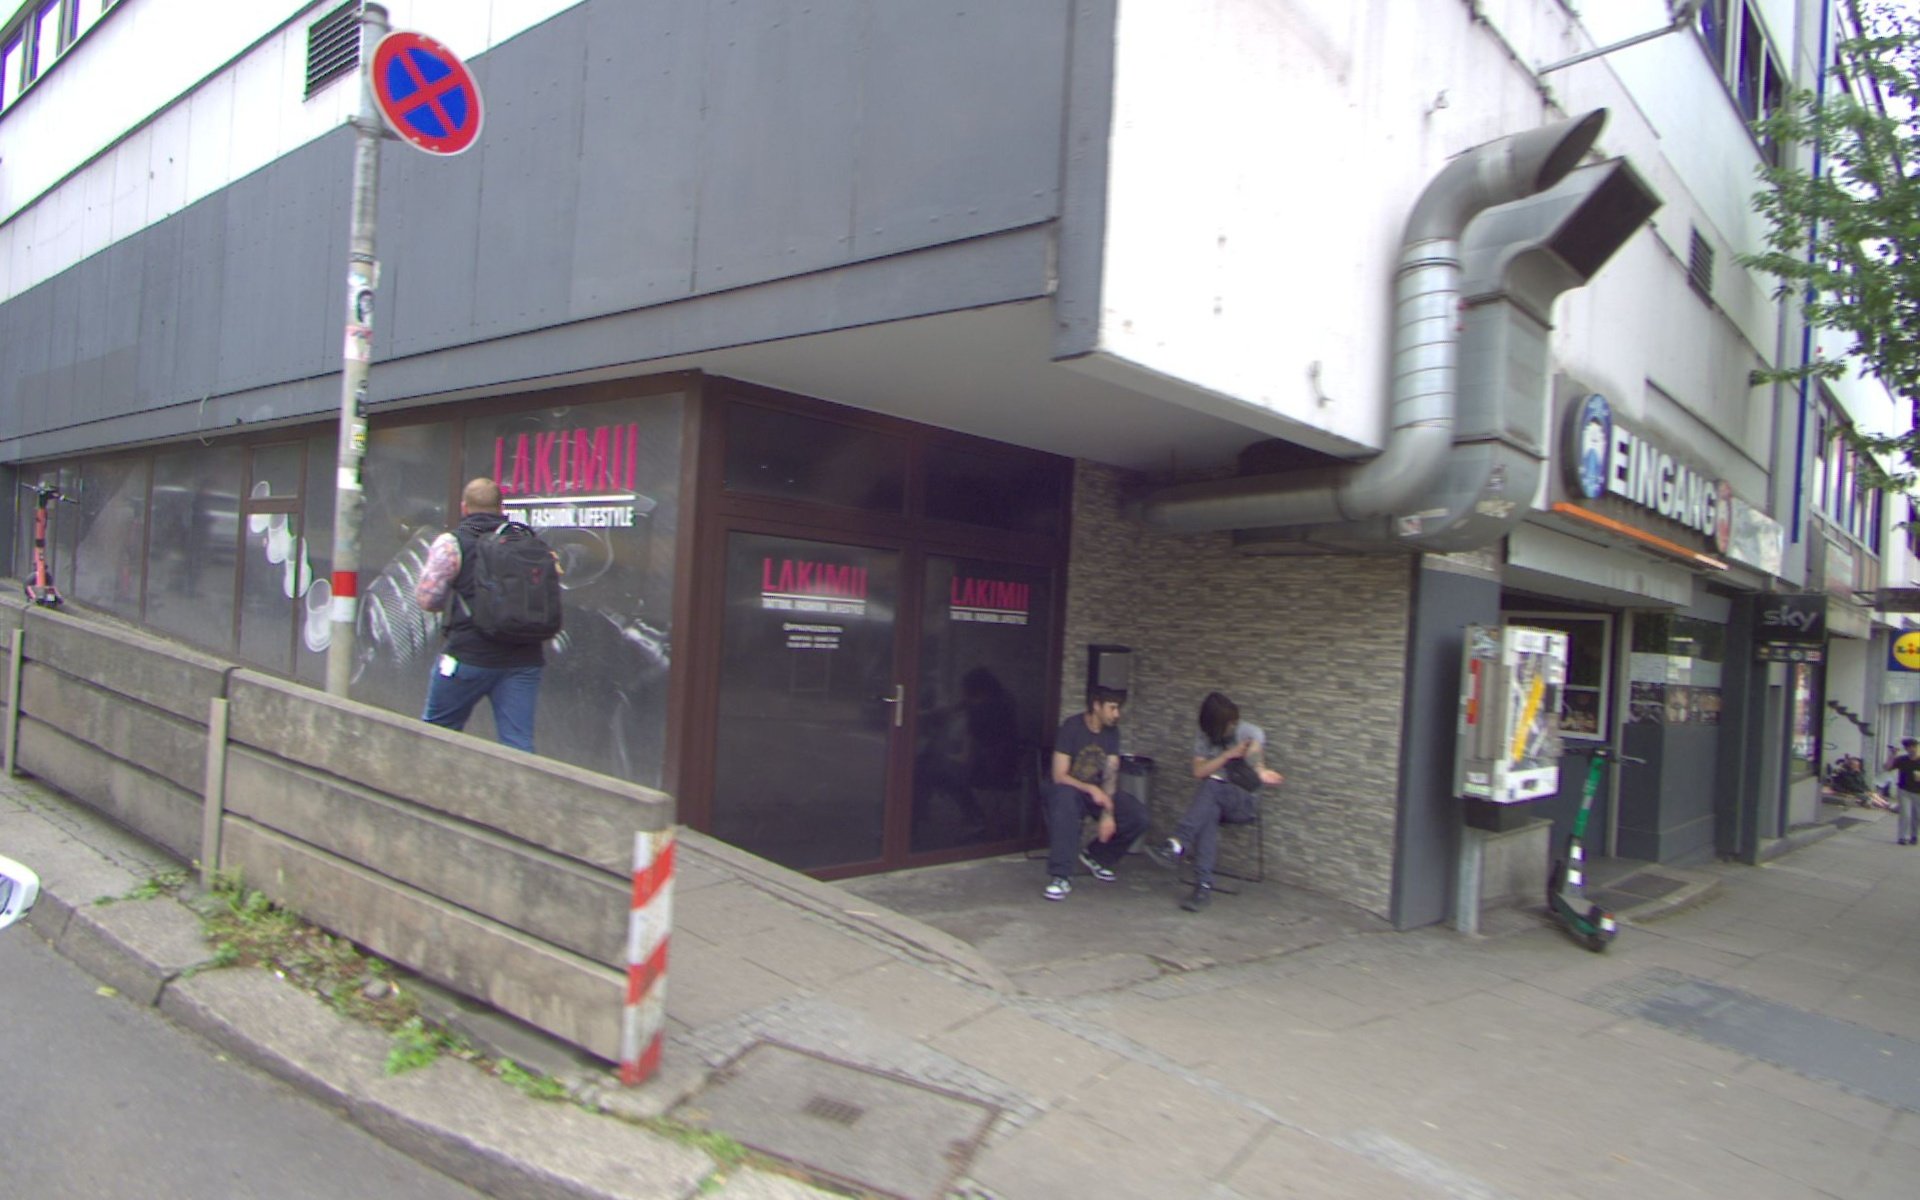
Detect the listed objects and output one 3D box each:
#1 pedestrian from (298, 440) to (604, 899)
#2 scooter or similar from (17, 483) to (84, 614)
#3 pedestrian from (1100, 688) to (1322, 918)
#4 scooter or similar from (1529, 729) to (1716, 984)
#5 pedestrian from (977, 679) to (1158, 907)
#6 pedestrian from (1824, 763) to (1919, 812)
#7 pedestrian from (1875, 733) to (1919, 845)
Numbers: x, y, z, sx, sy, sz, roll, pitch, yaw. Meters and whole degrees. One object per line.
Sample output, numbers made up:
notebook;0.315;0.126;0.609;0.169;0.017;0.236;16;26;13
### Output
pedestrian;-2.262;0.265;4.488;0.869;1.807;0.721;7;0;33
scooter or similar;-9.538;-0.552;10.542;0.426;1.292;0.968;4;2;-44
pedestrian;1.572;1.218;6.268;1.102;1.202;0.734;7;0;-41
scooter or similar;4.403;1.639;6.794;0.586;1.366;1.391;7;0;19
pedestrian;0.683;1.187;6.391;0.731;1.251;0.709;7;0;-42
pedestrian;19.900;4.056;21.909;0.655;0.736;1.525;7;0;-41
pedestrian;15.713;3.109;16.595;0.926;1.731;0.647;6;0;-38
